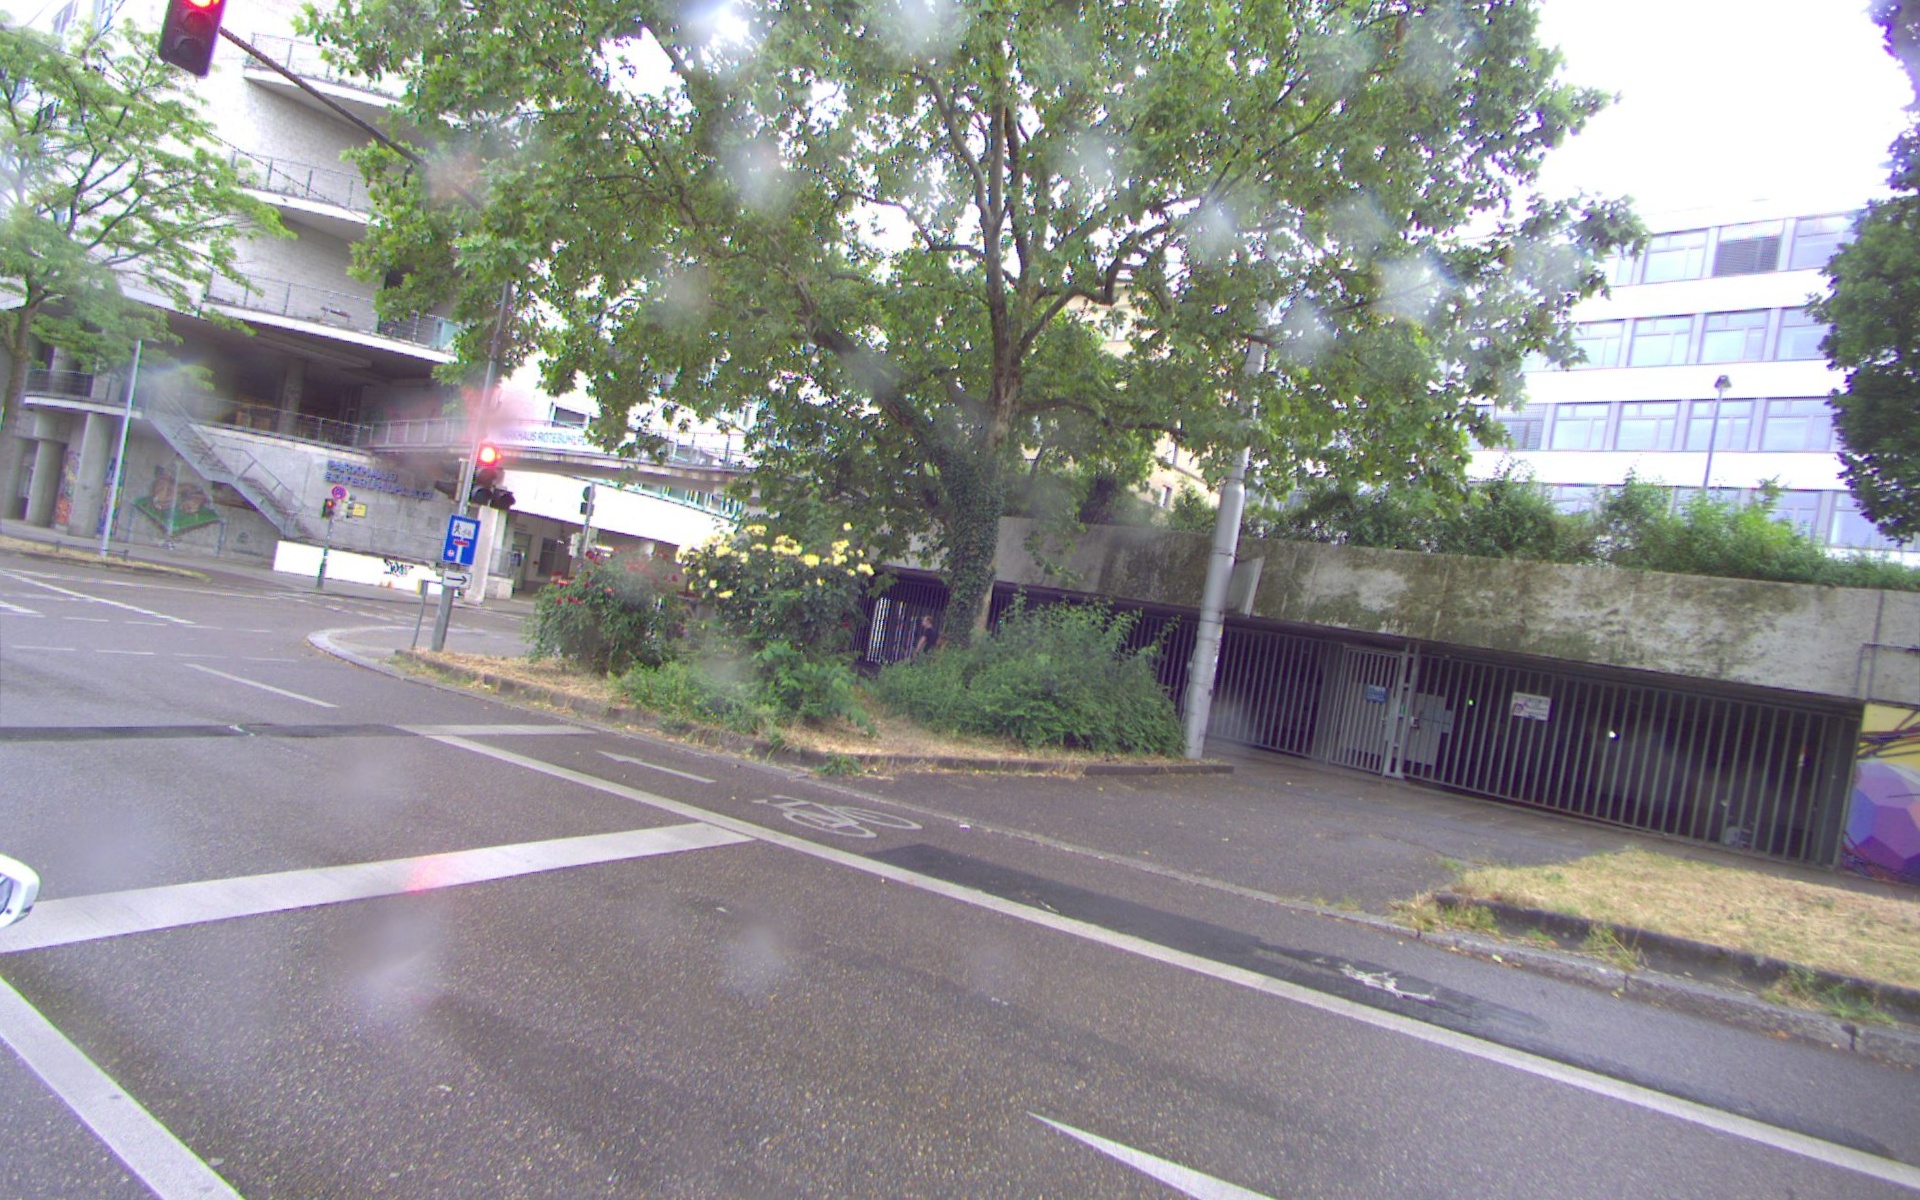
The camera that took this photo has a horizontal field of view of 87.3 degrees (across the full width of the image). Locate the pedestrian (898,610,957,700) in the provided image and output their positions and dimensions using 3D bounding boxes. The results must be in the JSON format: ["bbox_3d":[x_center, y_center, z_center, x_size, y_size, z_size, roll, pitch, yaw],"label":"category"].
[{"bbox_3d":[-0.740,1.265,22.966,0.745,1.932,0.847,8,-1,31],"label":"pedestrian"}]
